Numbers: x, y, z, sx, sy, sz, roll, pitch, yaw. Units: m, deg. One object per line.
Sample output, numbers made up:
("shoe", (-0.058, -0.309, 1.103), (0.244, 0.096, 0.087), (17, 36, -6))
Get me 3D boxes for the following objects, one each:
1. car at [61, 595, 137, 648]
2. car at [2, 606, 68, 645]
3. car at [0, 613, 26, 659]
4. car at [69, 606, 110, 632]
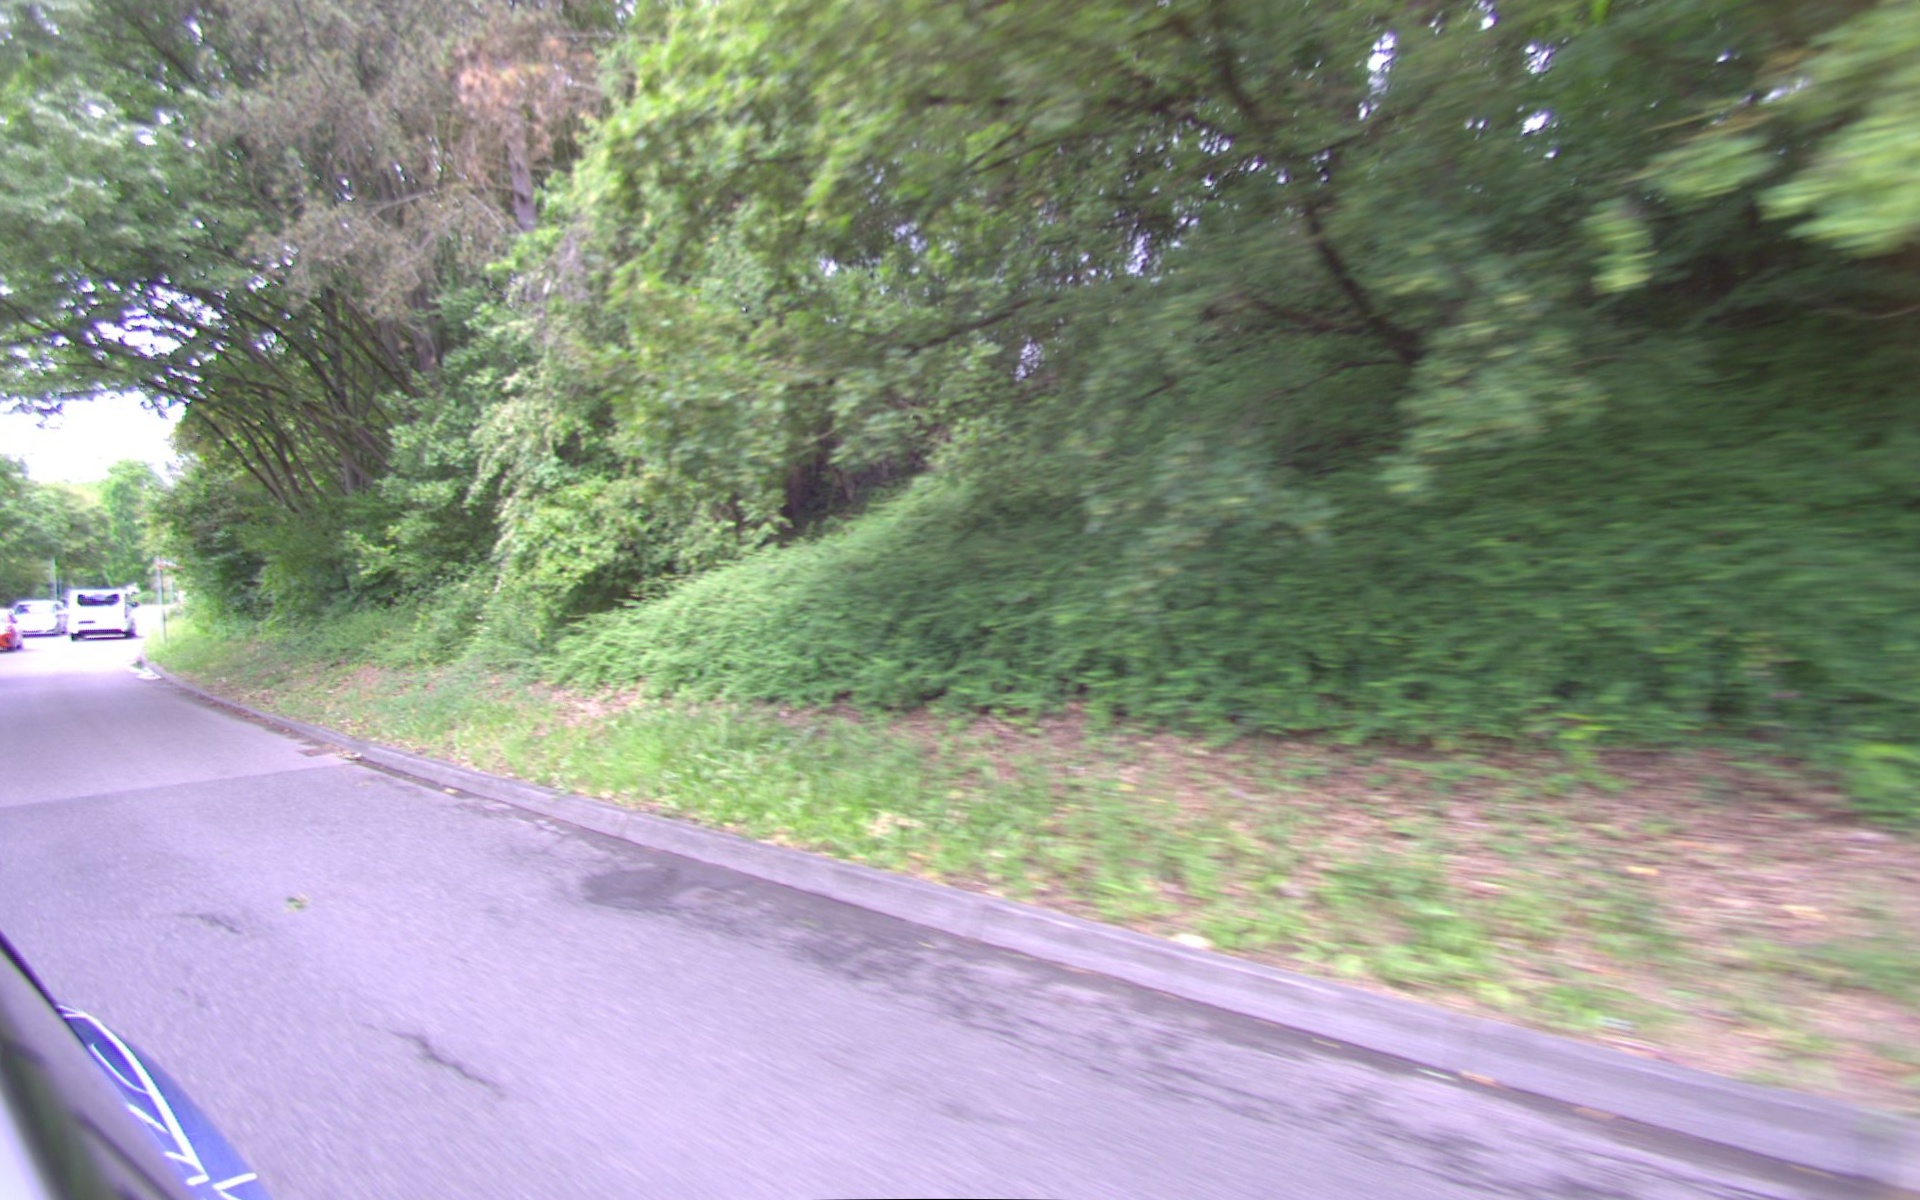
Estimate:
("car", (-35.813, 0.853, 42.181), (2.116, 2.029, 4.009), (-1, 1, -37))
("car", (-41.809, 1.147, 45.832), (1.893, 1.694, 4.008), (1, -1, -39))
("car", (-32.698, 1.227, 33.805), (1.838, 1.459, 4.184), (-2, 0, -38))
("car", (-55.001, 1.178, 63.965), (1.741, 1.529, 4.008), (-2, 1, -38))
